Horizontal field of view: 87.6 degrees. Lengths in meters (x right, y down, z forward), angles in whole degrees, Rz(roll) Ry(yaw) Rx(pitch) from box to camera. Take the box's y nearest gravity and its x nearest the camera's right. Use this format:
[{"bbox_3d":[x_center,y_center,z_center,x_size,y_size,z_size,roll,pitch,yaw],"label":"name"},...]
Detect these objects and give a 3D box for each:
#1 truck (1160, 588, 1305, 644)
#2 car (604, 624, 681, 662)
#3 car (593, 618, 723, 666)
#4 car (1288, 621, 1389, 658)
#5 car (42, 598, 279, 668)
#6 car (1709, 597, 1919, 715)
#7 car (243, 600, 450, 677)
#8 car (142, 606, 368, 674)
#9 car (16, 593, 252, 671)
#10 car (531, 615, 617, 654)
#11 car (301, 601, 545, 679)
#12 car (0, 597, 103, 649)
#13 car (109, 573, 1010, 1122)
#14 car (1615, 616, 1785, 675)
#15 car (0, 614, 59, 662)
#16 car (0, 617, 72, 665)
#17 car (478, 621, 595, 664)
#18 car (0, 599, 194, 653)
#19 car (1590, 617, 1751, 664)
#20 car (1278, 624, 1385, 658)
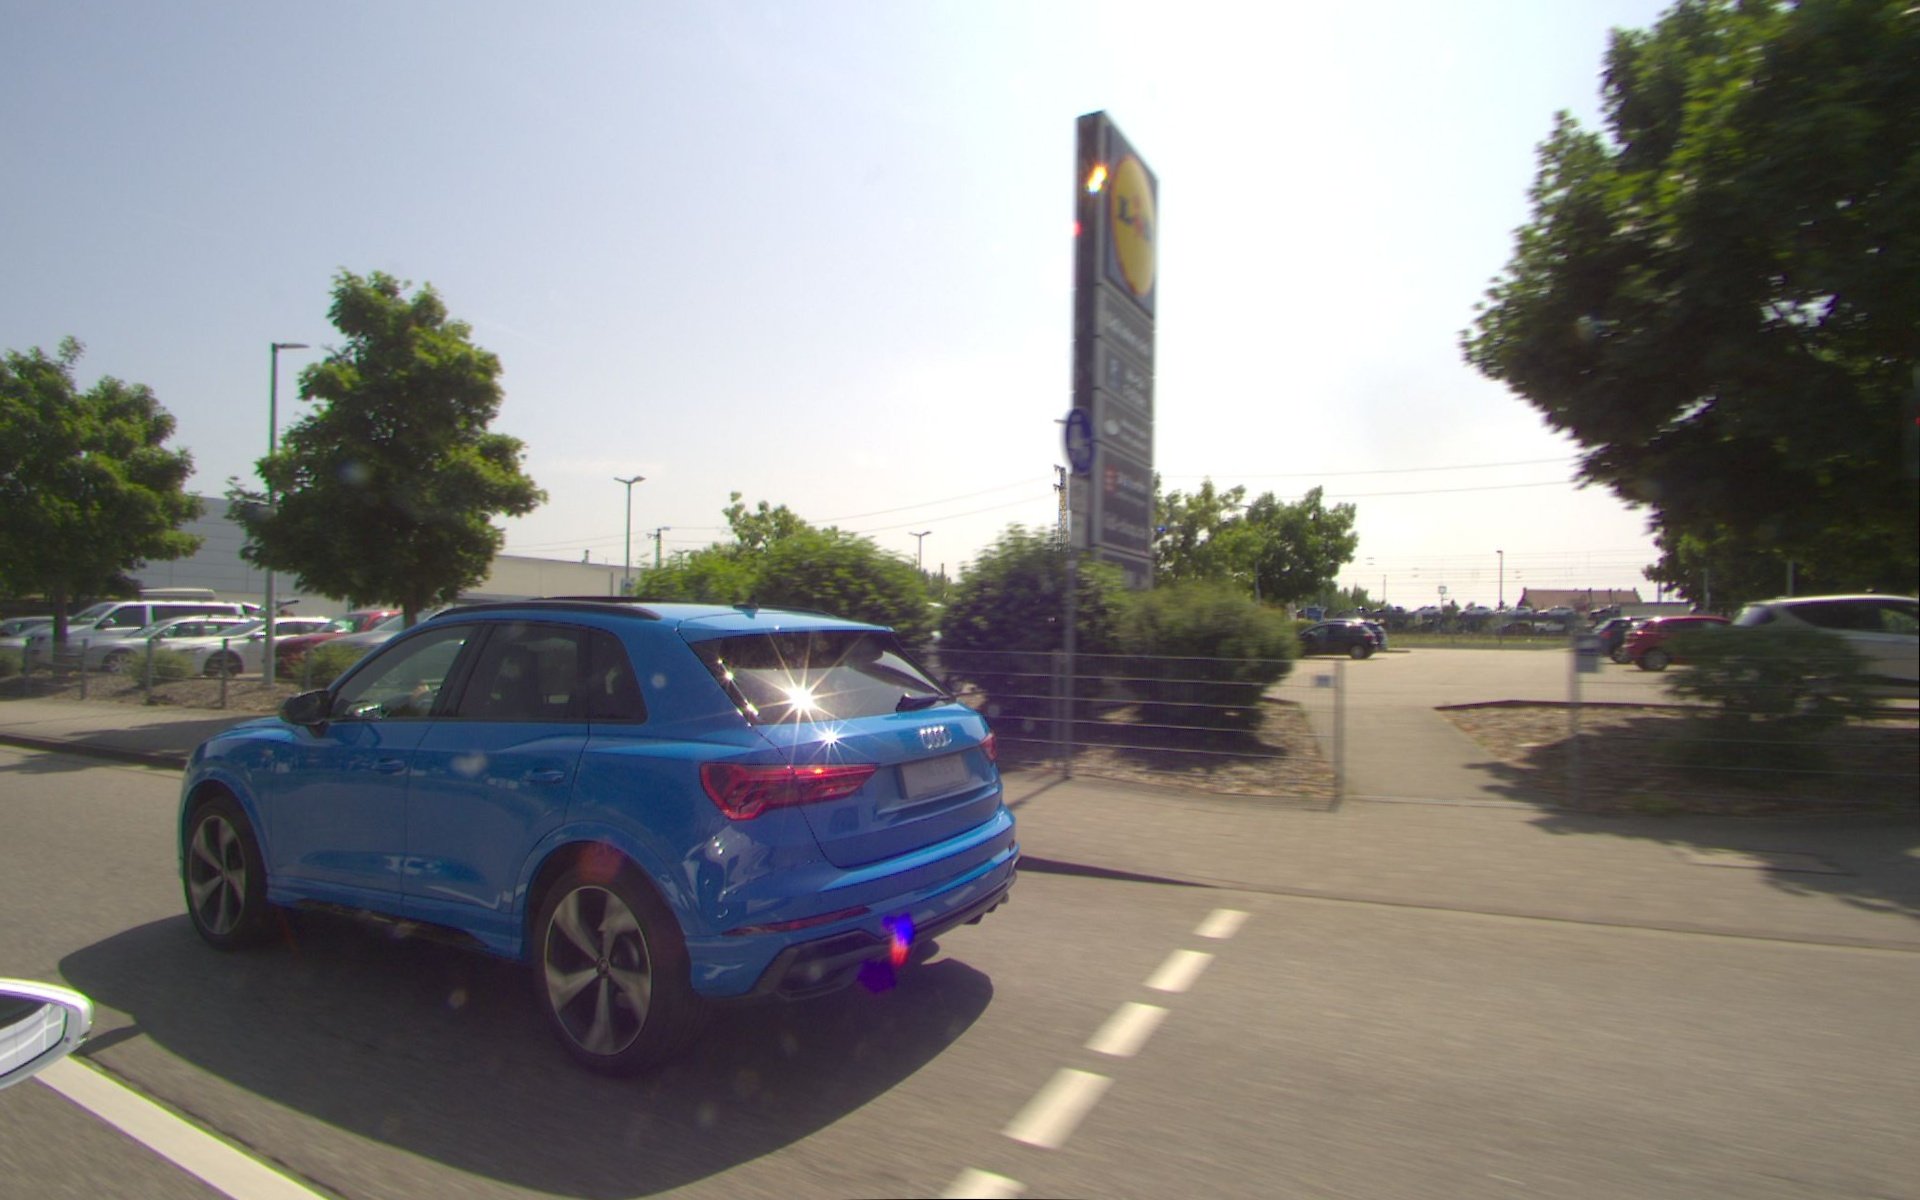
[{"bbox_3d":[19.881,1.215,73.412,9.888,3.887,2.845,-1,-1,32],"label":"truck"},{"bbox_3d":[-12.629,1.682,39.830,2.912,1.438,1.264,0,-1,28],"label":"car"},{"bbox_3d":[-9.677,1.308,32.078,3.938,1.438,1.727,-1,-1,28],"label":"car"},{"bbox_3d":[15.929,1.640,42.235,3.747,1.497,1.627,-1,-1,33],"label":"car"},{"bbox_3d":[-20.216,0.869,25.531,1.800,1.613,4.362,0,-3,31],"label":"car"},{"bbox_3d":[12.004,0.685,12.971,3.479,1.458,1.418,0,1,29],"label":"car"},{"bbox_3d":[-13.524,0.867,22.285,1.695,1.556,3.592,0,-2,24],"label":"car"},{"bbox_3d":[-16.324,0.944,23.406,1.672,1.439,3.995,0,-3,28],"label":"car"},{"bbox_3d":[-22.402,0.904,27.381,1.799,1.948,4.614,0,-2,29],"label":"car"},{"bbox_3d":[-14.629,1.294,37.961,3.202,1.438,1.264,-1,-1,28],"label":"car"},{"bbox_3d":[-10.911,0.836,20.650,1.673,1.439,4.166,0,-3,31],"label":"car"},{"bbox_3d":[-29.558,0.751,31.176,1.799,1.553,3.985,-2,-3,29],"label":"car"},{"bbox_3d":[-2.069,0.773,4.828,4.285,1.613,1.806,-1,-1,31],"label":"car"},{"bbox_3d":[19.514,1.174,26.584,3.373,1.467,1.700,-1,-1,27],"label":"car"},{"bbox_3d":[-32.153,1.229,32.449,1.797,1.553,3.991,-1,-3,23],"label":"car"},{"bbox_3d":[-33.573,1.404,34.550,1.797,1.615,3.990,0,-3,25],"label":"car"},{"bbox_3d":[-14.929,1.464,35.271,3.938,1.438,1.727,-1,-1,28],"label":"car"},{"bbox_3d":[-24.689,0.782,28.654,1.799,1.407,3.985,0,-3,29],"label":"car"},{"bbox_3d":[23.438,1.311,33.227,4.265,1.468,1.700,-1,-1,34],"label":"car"},{"bbox_3d":[14.800,1.604,39.920,3.747,1.305,1.627,-1,-1,33],"label":"car"}]
